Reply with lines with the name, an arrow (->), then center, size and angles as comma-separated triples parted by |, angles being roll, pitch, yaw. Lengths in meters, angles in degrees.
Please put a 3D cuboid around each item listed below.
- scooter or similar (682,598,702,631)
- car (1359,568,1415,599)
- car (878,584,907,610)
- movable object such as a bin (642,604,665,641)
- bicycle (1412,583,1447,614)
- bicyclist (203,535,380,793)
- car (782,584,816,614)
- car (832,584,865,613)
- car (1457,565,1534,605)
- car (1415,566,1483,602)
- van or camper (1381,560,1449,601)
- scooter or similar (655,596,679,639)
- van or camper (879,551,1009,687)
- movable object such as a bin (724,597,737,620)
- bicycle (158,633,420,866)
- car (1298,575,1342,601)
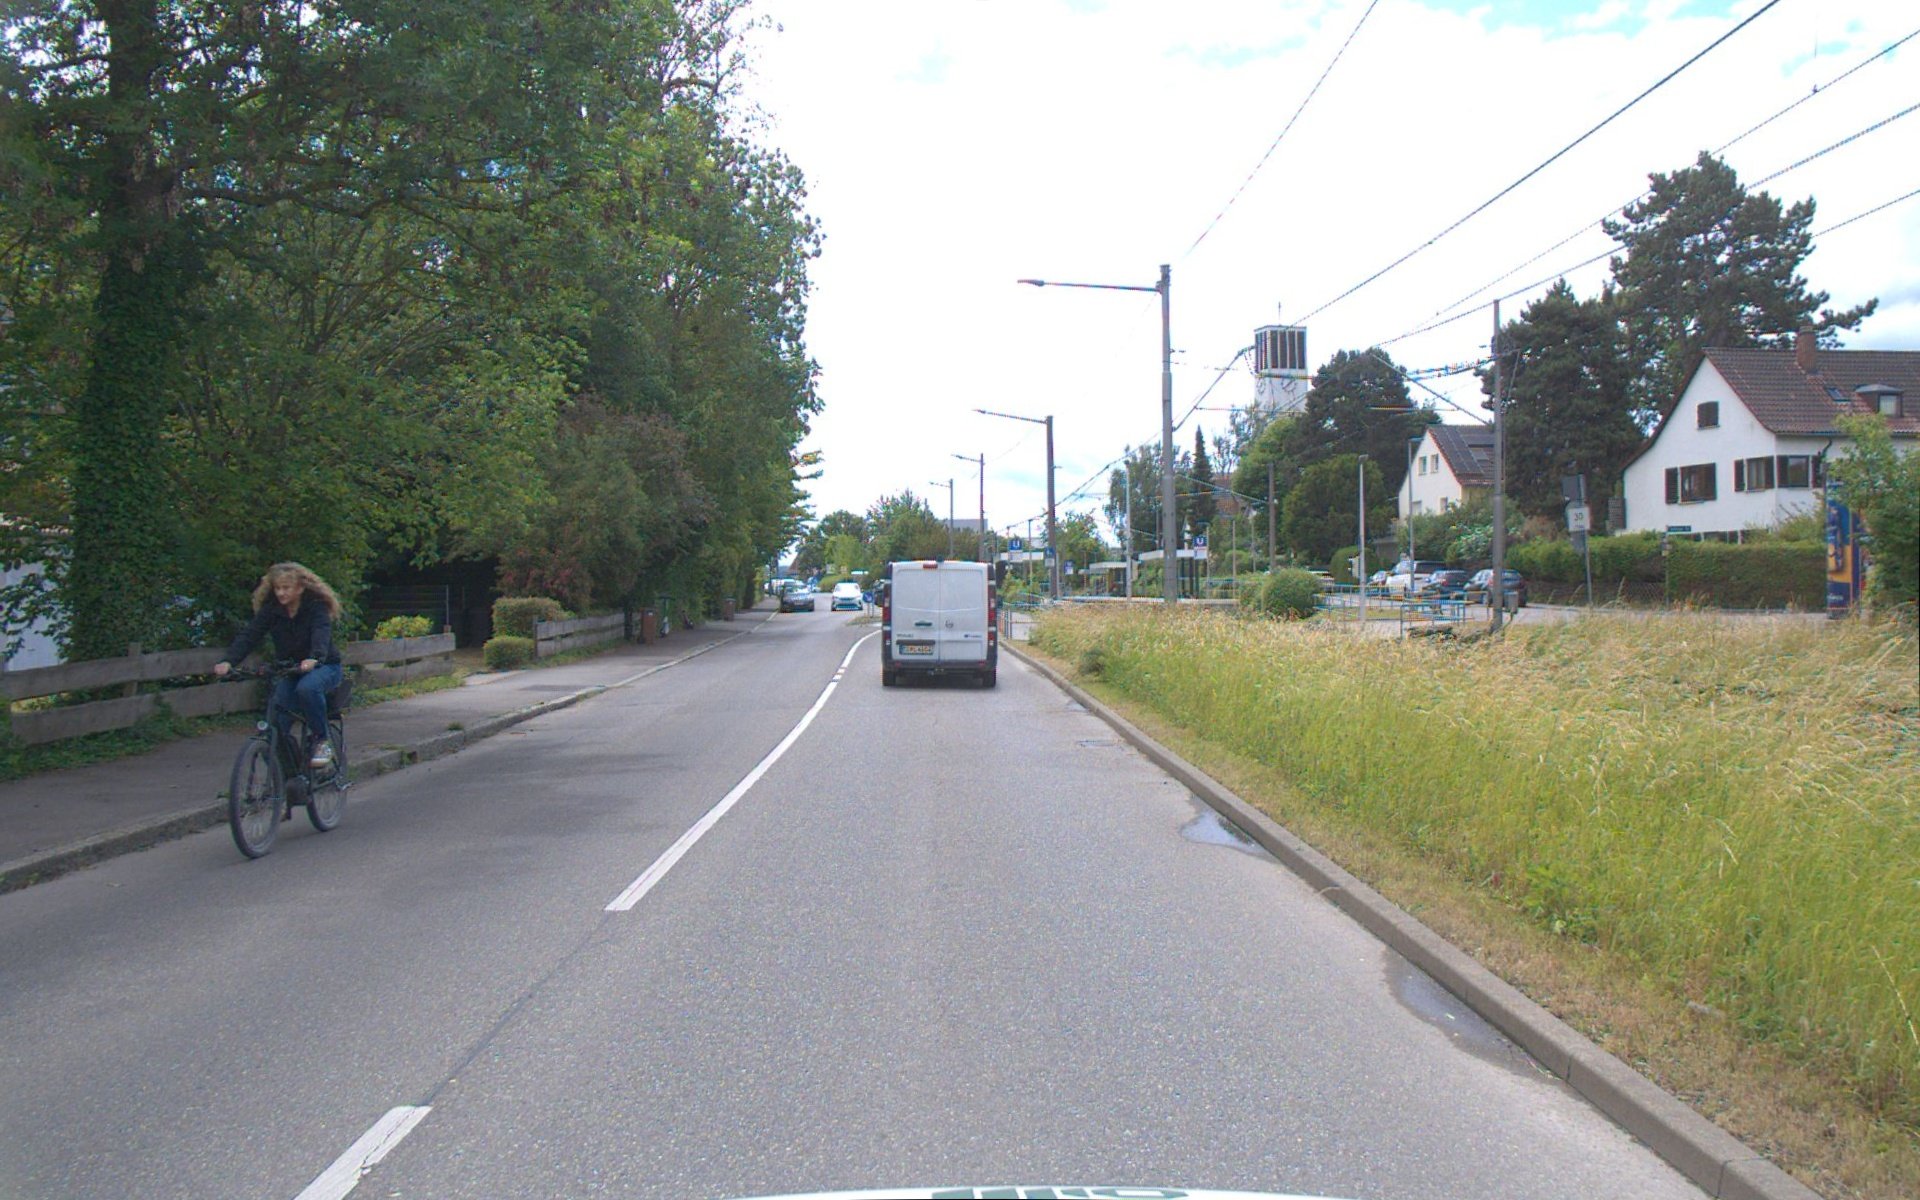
scooter or similar -> -9.228, 0.503, 56.930 | 0.470, 1.100, 1.207 | 0, 0, -19
car -> 21.813, -0.831, 84.661 | 1.845, 1.548, 4.000 | -1, 0, 0
car -> -4.398, -0.217, 107.264 | 1.815, 1.677, 3.732 | -1, 0, -3
movable object such as a bin -> -8.019, 0.582, 43.231 | 0.503, 0.961, 0.568 | 0, 0, -1
bicycle -> 16.601, -0.062, 58.500 | 0.527, 1.064, 2.540 | -1, 0, 0
bicyclist -> -4.282, 0.393, 10.647 | 0.762, 1.576, 0.869 | -1, 0, -1
car -> -8.771, -0.084, 90.004 | 1.704, 1.531, 4.471 | -2, 1, -7
car -> -6.037, -0.099, 89.369 | 1.660, 1.455, 3.783 | -3, 1, -4
car -> 21.959, -0.621, 67.944 | 1.845, 1.548, 4.000 | -1, 0, 0
car -> 21.855, -0.719, 74.083 | 1.845, 1.548, 4.000 | -1, 0, 0
van or camper -> 21.727, -0.919, 79.170 | 1.866, 1.857, 5.047 | -1, 0, 0
scooter or similar -> -8.629, 0.504, 48.703 | 0.400, 1.220, 1.639 | -1, 0, 0
van or camper -> -0.249, 0.291, 27.427 | 1.953, 2.049, 4.445 | 1, 0, 0
movable object such as a bin -> -9.794, 0.359, 70.628 | 0.455, 0.946, 0.428 | 3, -1, -18
bicycle -> -4.257, 0.886, 10.717 | 0.740, 1.248, 2.308 | -2, 0, -1
car -> 21.893, -0.746, 100.674 | 1.845, 1.548, 4.000 | -1, 0, 0
